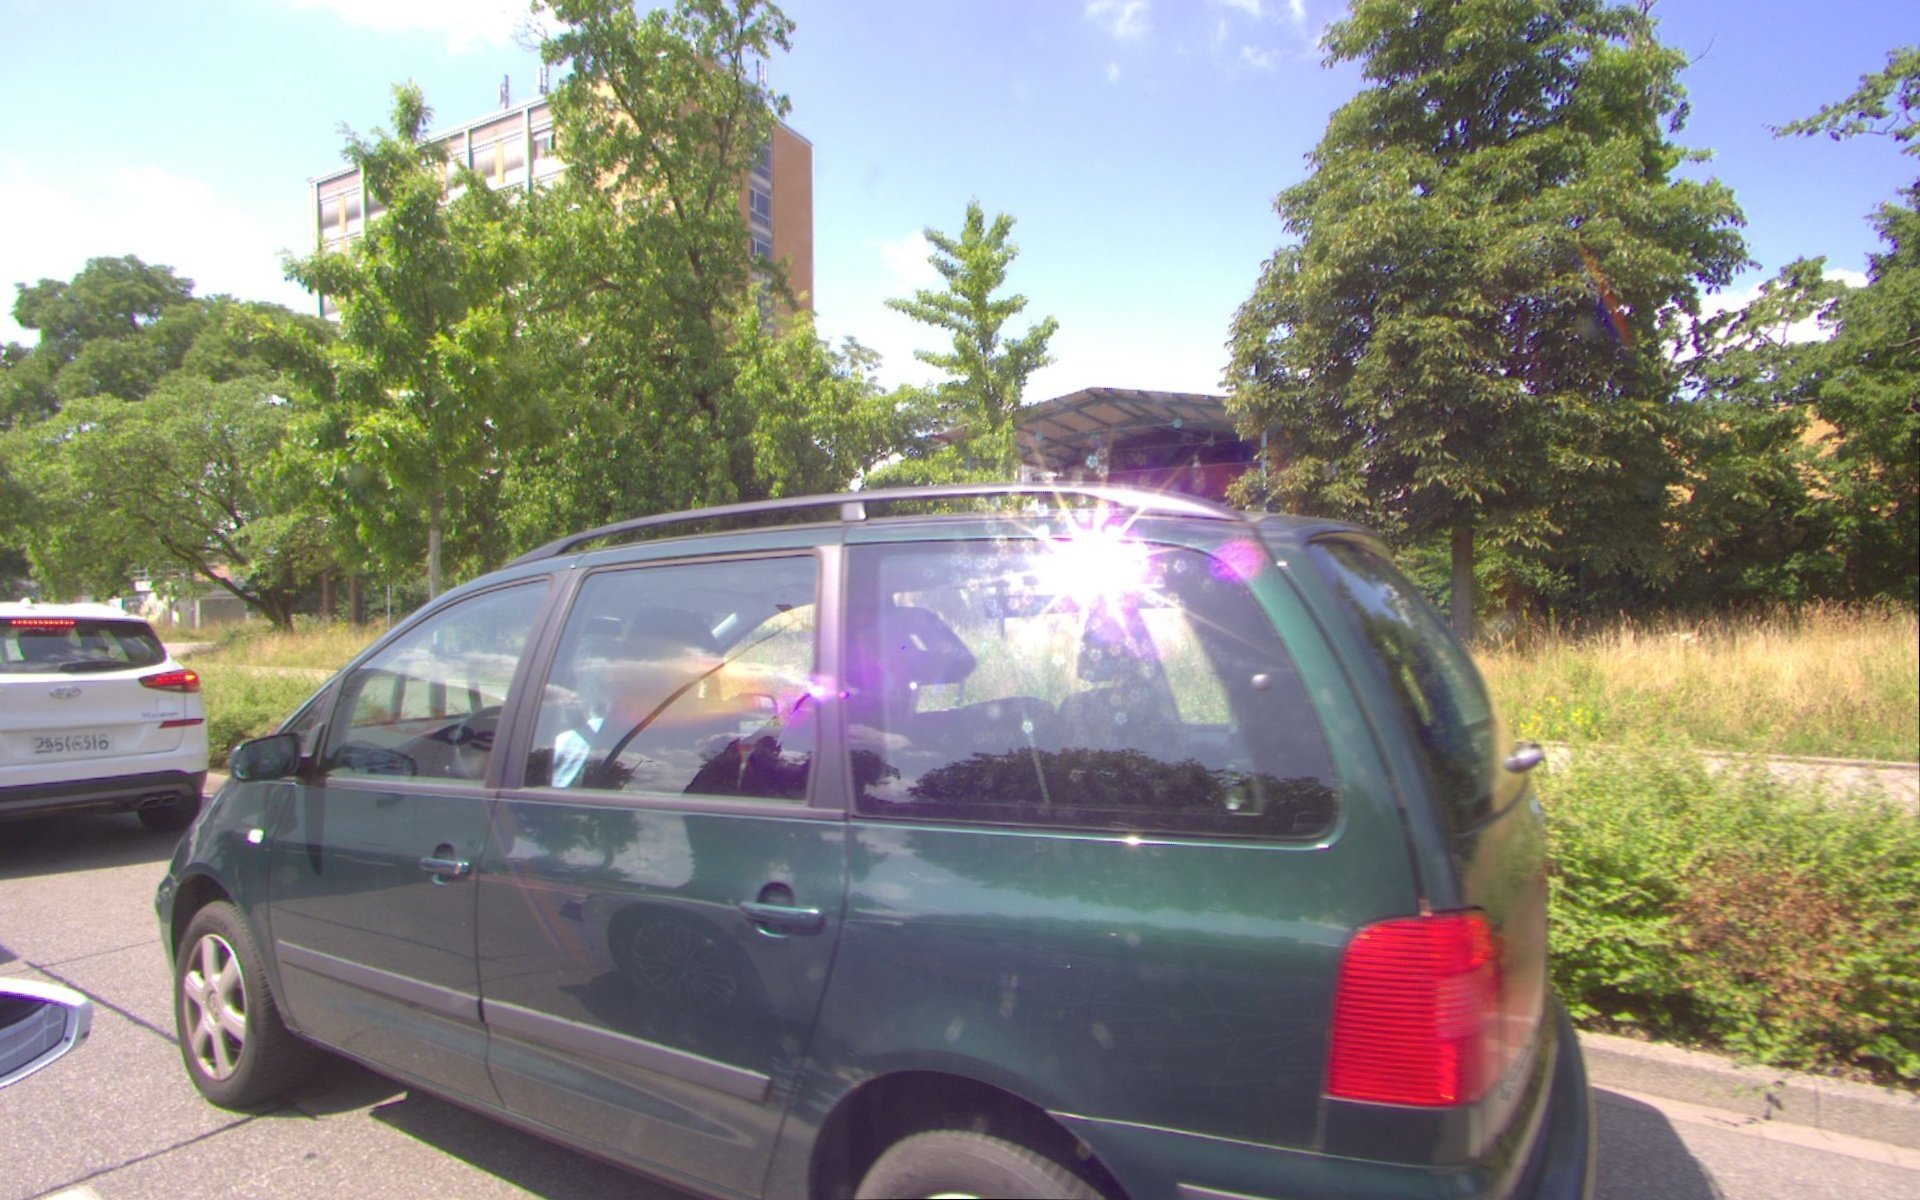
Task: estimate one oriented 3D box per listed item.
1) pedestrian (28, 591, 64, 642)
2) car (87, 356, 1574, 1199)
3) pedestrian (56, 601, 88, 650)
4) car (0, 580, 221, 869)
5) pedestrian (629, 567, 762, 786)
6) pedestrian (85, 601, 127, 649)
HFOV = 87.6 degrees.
[{"bbox_3d":[-37.830,0.666,41.455,0.727,2.085,0.846,0,0,15],"label":"pedestrian"},{"bbox_3d":[-0.681,0.638,3.033,4.325,1.757,1.809,0,-1,32],"label":"car"},{"bbox_3d":[-37.619,1.067,42.440,0.730,2.040,0.843,0,1,32],"label":"pedestrian"},{"bbox_3d":[-7.176,0.748,7.217,3.945,1.710,1.793,0,0,34],"label":"car"},{"bbox_3d":[-2.457,0.675,9.348,0.762,1.917,0.948,0,0,32],"label":"pedestrian"},{"bbox_3d":[-28.324,0.827,33.216,0.823,1.559,0.843,0,0,32],"label":"pedestrian"}]
